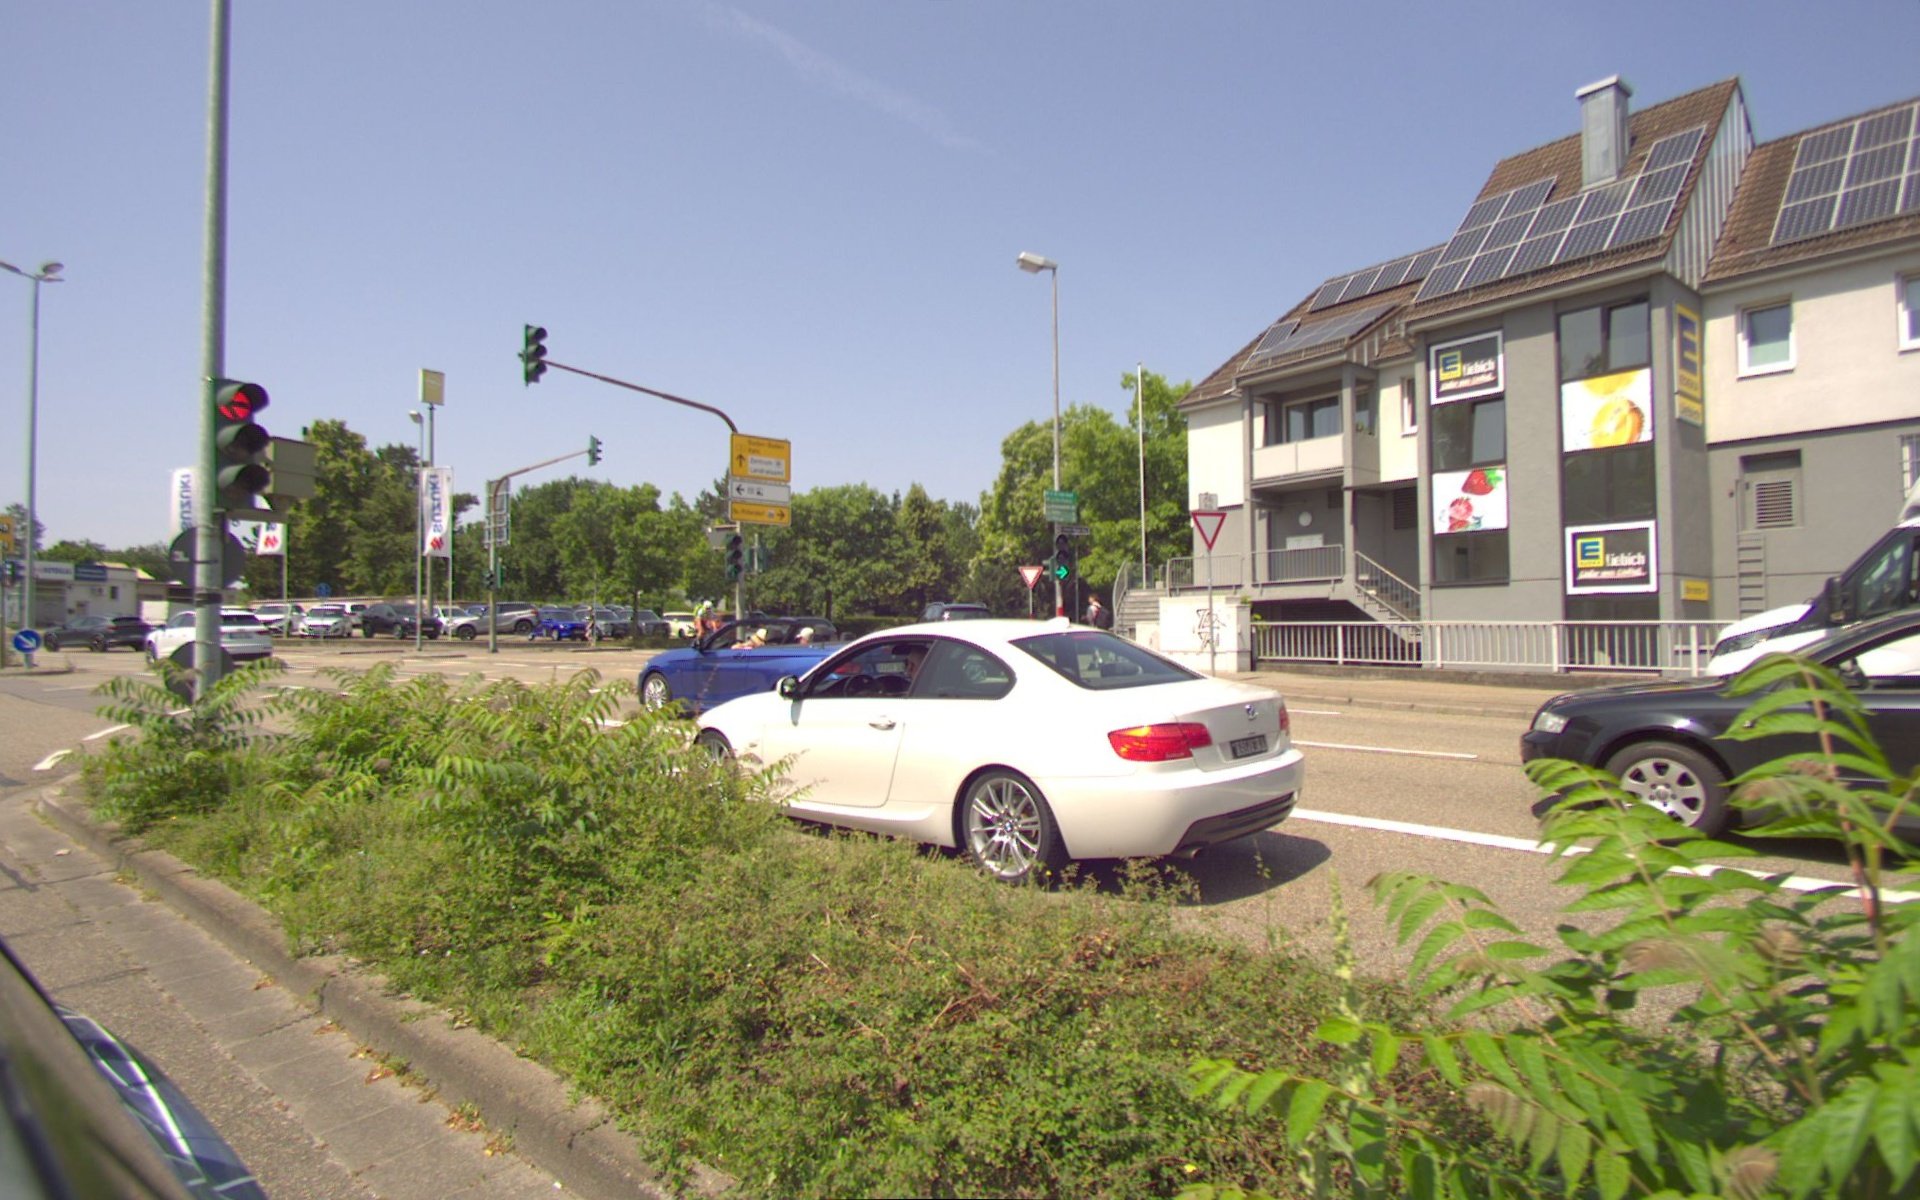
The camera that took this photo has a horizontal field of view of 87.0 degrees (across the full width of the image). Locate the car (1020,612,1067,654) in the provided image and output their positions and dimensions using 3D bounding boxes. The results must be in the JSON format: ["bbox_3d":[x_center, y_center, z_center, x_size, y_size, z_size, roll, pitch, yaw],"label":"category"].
[{"bbox_3d":[3.131,1.262,37.511,1.478,1.460,4.260,0,-3,8],"label":"car"}]

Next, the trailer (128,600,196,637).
[{"bbox_3d":[-39.111,0.882,49.650,1.666,1.717,2.440,-1,0,-10],"label":"trailer"}]

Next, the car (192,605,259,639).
[{"bbox_3d":[-35.262,1.027,48.660,1.727,1.521,3.833,-1,0,-22],"label":"car"}]

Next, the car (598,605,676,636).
[{"bbox_3d":[-17.041,1.093,53.399,3.988,1.582,1.821,0,-2,33],"label":"car"}]

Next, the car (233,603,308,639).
[{"bbox_3d":[-32.712,0.961,48.139,1.886,1.552,3.975,-1,0,-18],"label":"car"}]

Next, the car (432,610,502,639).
[{"bbox_3d":[-27.815,1.374,57.086,3.989,1.548,1.775,0,0,34],"label":"car"}]

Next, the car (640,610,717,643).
[{"bbox_3d":[-15.286,1.398,54.930,3.989,1.720,1.886,0,0,34],"label":"car"}]

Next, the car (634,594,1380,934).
[{"bbox_3d":[-0.025,0.726,6.568,4.743,1.442,1.843,-1,-1,42],"label":"car"}]

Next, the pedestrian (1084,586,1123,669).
[{"bbox_3d":[3.562,0.672,25.146,0.741,2.029,0.498,-3,-1,35],"label":"pedestrian"}]

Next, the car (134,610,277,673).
[{"bbox_3d":[-20.682,1.081,27.685,4.545,1.582,1.801,-1,0,35],"label":"car"}]

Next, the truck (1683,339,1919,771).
[{"bbox_3d":[9.814,-0.416,7.348,2.237,3.443,7.046,0,-2,-43],"label":"truck"}]

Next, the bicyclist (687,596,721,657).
[{"bbox_3d":[-7.093,0.735,28.072,0.817,1.655,0.418,-2,0,29],"label":"bicyclist"}]

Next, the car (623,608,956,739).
[{"bbox_3d":[-2.300,0.827,12.954,4.344,1.376,1.844,-1,-1,41],"label":"car"}]

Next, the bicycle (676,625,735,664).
[{"bbox_3d":[-7.067,1.224,28.049,1.782,1.062,0.417,-1,0,29],"label":"bicycle"}]

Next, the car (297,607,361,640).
[{"bbox_3d":[-29.740,1.094,47.808,1.686,1.443,3.975,1,0,-19],"label":"car"}]

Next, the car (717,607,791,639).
[{"bbox_3d":[-11.944,1.283,58.544,3.989,1.763,1.977,0,0,34],"label":"car"}]

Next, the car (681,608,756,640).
[{"bbox_3d":[-13.518,1.317,56.615,3.989,1.696,1.848,0,0,34],"label":"car"}]

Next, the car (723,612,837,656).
[{"bbox_3d":[-7.431,1.354,42.160,1.760,1.622,4.701,0,0,39],"label":"car"}]

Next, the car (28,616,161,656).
[{"bbox_3d":[-34.761,1.420,40.666,4.402,1.497,1.993,0,-1,17],"label":"car"}]

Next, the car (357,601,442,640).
[{"bbox_3d":[-26.405,0.946,47.644,4.001,1.737,1.826,1,0,32],"label":"car"}]

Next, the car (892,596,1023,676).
[{"bbox_3d":[-0.193,0.853,24.491,1.966,1.669,4.606,3,-2,-15],"label":"car"}]

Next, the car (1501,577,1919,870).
[{"bbox_3d":[5.648,0.601,5.378,4.578,1.450,1.781,-1,-1,44],"label":"car"}]

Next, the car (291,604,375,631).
[{"bbox_3d":[-39.595,1.120,63.949,4.709,1.662,1.687,-1,-1,13],"label":"car"}]

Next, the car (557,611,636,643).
[{"bbox_3d":[-18.526,1.337,51.593,3.989,1.548,1.775,0,0,34],"label":"car"}]

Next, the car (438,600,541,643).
[{"bbox_3d":[-22.124,0.996,47.758,4.235,1.916,1.835,1,0,-21],"label":"car"}]
